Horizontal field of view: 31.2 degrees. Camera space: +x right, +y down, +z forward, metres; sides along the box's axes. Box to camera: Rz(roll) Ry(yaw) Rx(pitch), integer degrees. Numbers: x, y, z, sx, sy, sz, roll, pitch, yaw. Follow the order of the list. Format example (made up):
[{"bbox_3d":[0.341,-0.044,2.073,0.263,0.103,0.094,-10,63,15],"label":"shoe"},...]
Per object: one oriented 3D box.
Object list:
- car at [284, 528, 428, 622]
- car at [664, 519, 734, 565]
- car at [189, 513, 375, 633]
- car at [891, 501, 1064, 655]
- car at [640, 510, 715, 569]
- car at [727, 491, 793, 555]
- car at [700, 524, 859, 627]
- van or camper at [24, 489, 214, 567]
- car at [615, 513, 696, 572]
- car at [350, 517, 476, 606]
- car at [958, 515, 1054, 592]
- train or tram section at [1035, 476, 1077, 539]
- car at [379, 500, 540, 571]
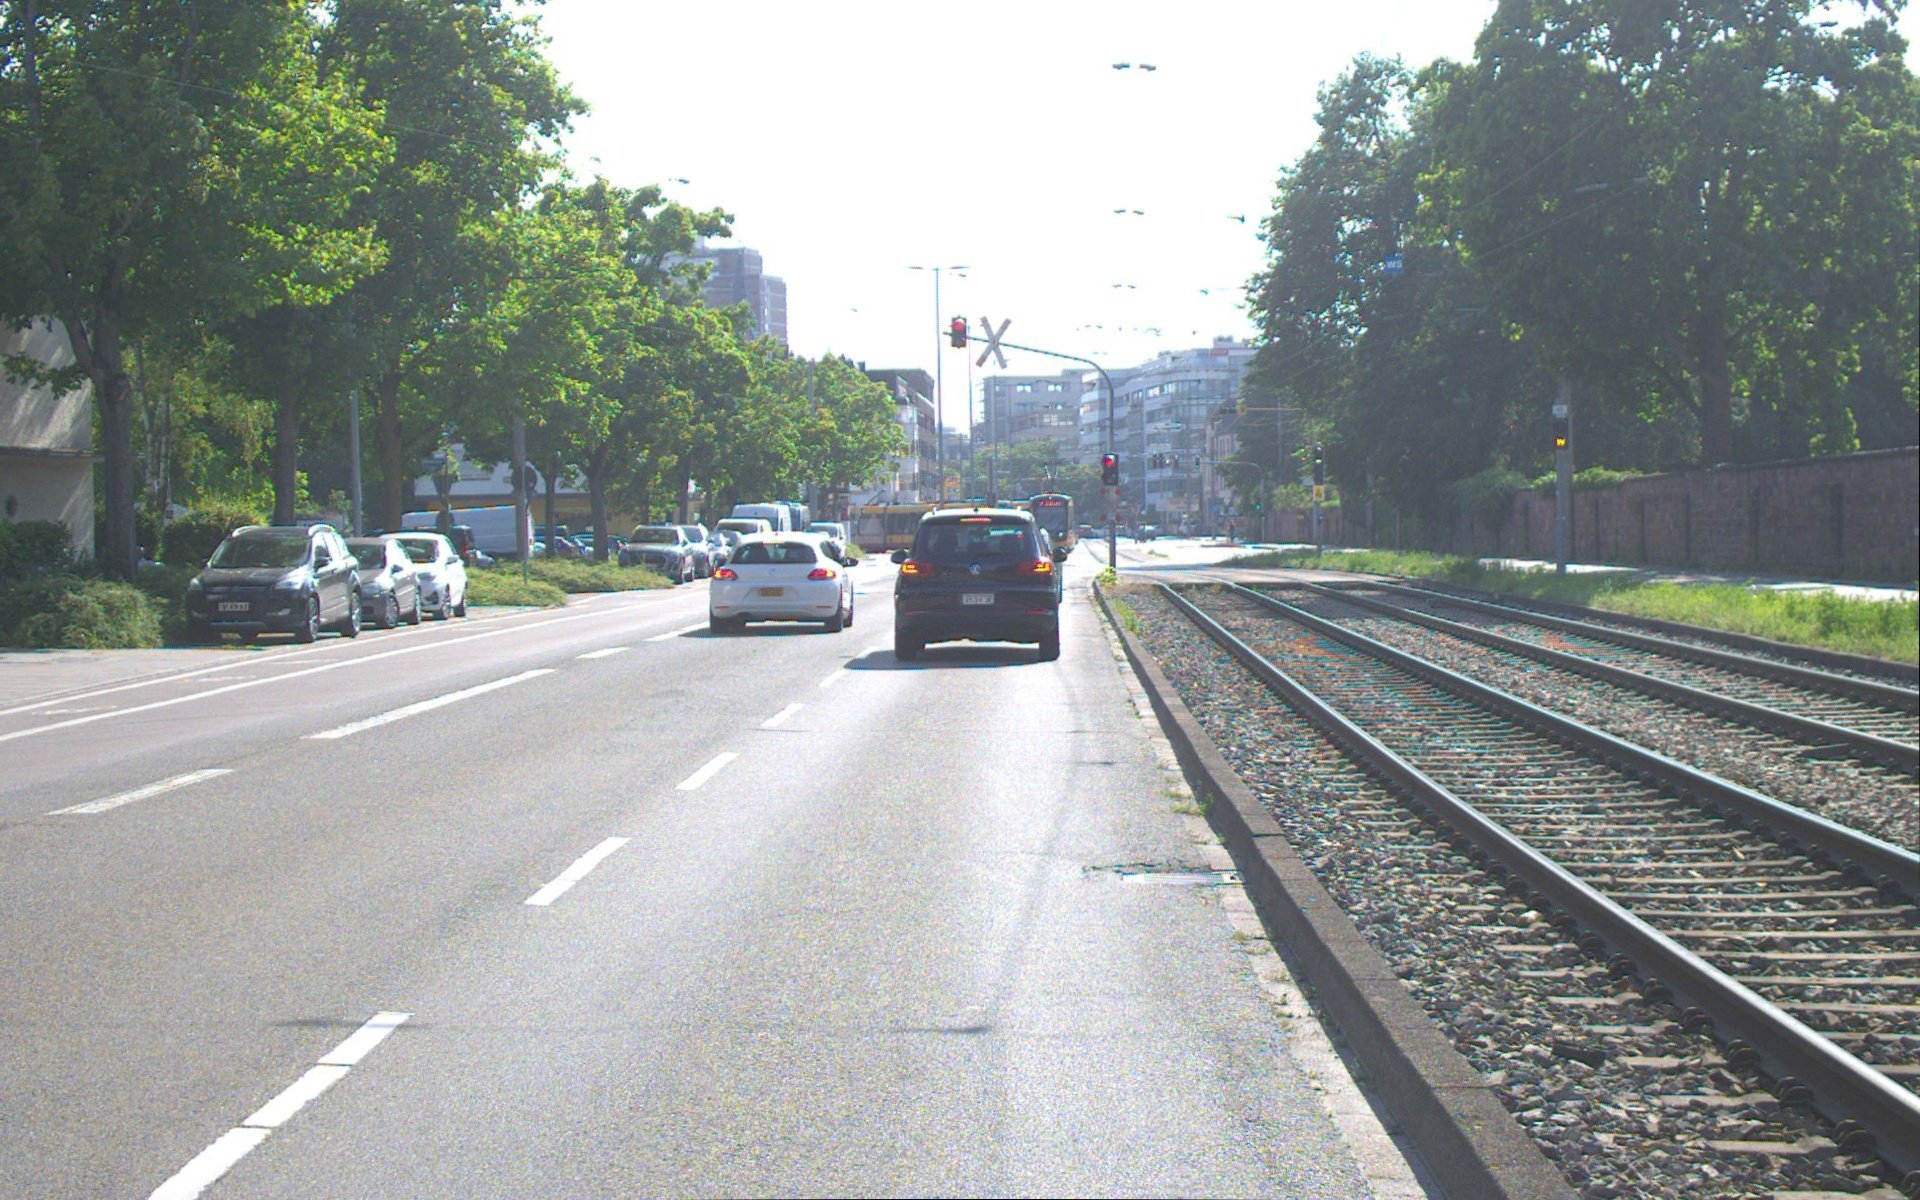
[{"bbox_3d":[-9.982,-0.447,57.070,1.677,1.463,3.969,-1,1,0],"label":"car"},{"bbox_3d":[-8.477,-1.901,111.952,1.732,1.384,3.735,-1,2,4],"label":"car"},{"bbox_3d":[-10.065,-0.441,51.363,1.712,1.688,4.422,-1,2,2],"label":"car"},{"bbox_3d":[0.247,-0.270,38.662,1.811,1.639,4.000,0,1,2],"label":"car"},{"bbox_3d":[-8.656,-1.879,105.642,1.732,1.688,4.000,-1,2,4],"label":"car"},{"bbox_3d":[-7.514,-2.923,129.785,1.863,2.339,4.984,-1,1,4],"label":"car"},{"bbox_3d":[-2.483,-0.373,48.218,1.865,1.343,4.000,0,2,2],"label":"car"},{"bbox_3d":[-31.448,-2.698,128.676,6.464,2.858,2.307,-1,1,3],"label":"van or camper"},{"bbox_3d":[-8.844,-1.686,100.024,1.732,1.652,4.000,-1,1,4],"label":"car"},{"bbox_3d":[-9.936,-0.729,62.707,1.601,1.545,3.895,1,2,1],"label":"car"},{"bbox_3d":[0.933,-0.933,67.453,1.811,1.444,4.000,1,2,2],"label":"car"},{"bbox_3d":[5.630,-5.403,201.191,2.327,3.557,8.900,-1,1,2],"label":"train or tram section"},{"bbox_3d":[-17.949,-2.327,123.418,5.376,2.415,2.087,-1,1,2],"label":"car"}]
